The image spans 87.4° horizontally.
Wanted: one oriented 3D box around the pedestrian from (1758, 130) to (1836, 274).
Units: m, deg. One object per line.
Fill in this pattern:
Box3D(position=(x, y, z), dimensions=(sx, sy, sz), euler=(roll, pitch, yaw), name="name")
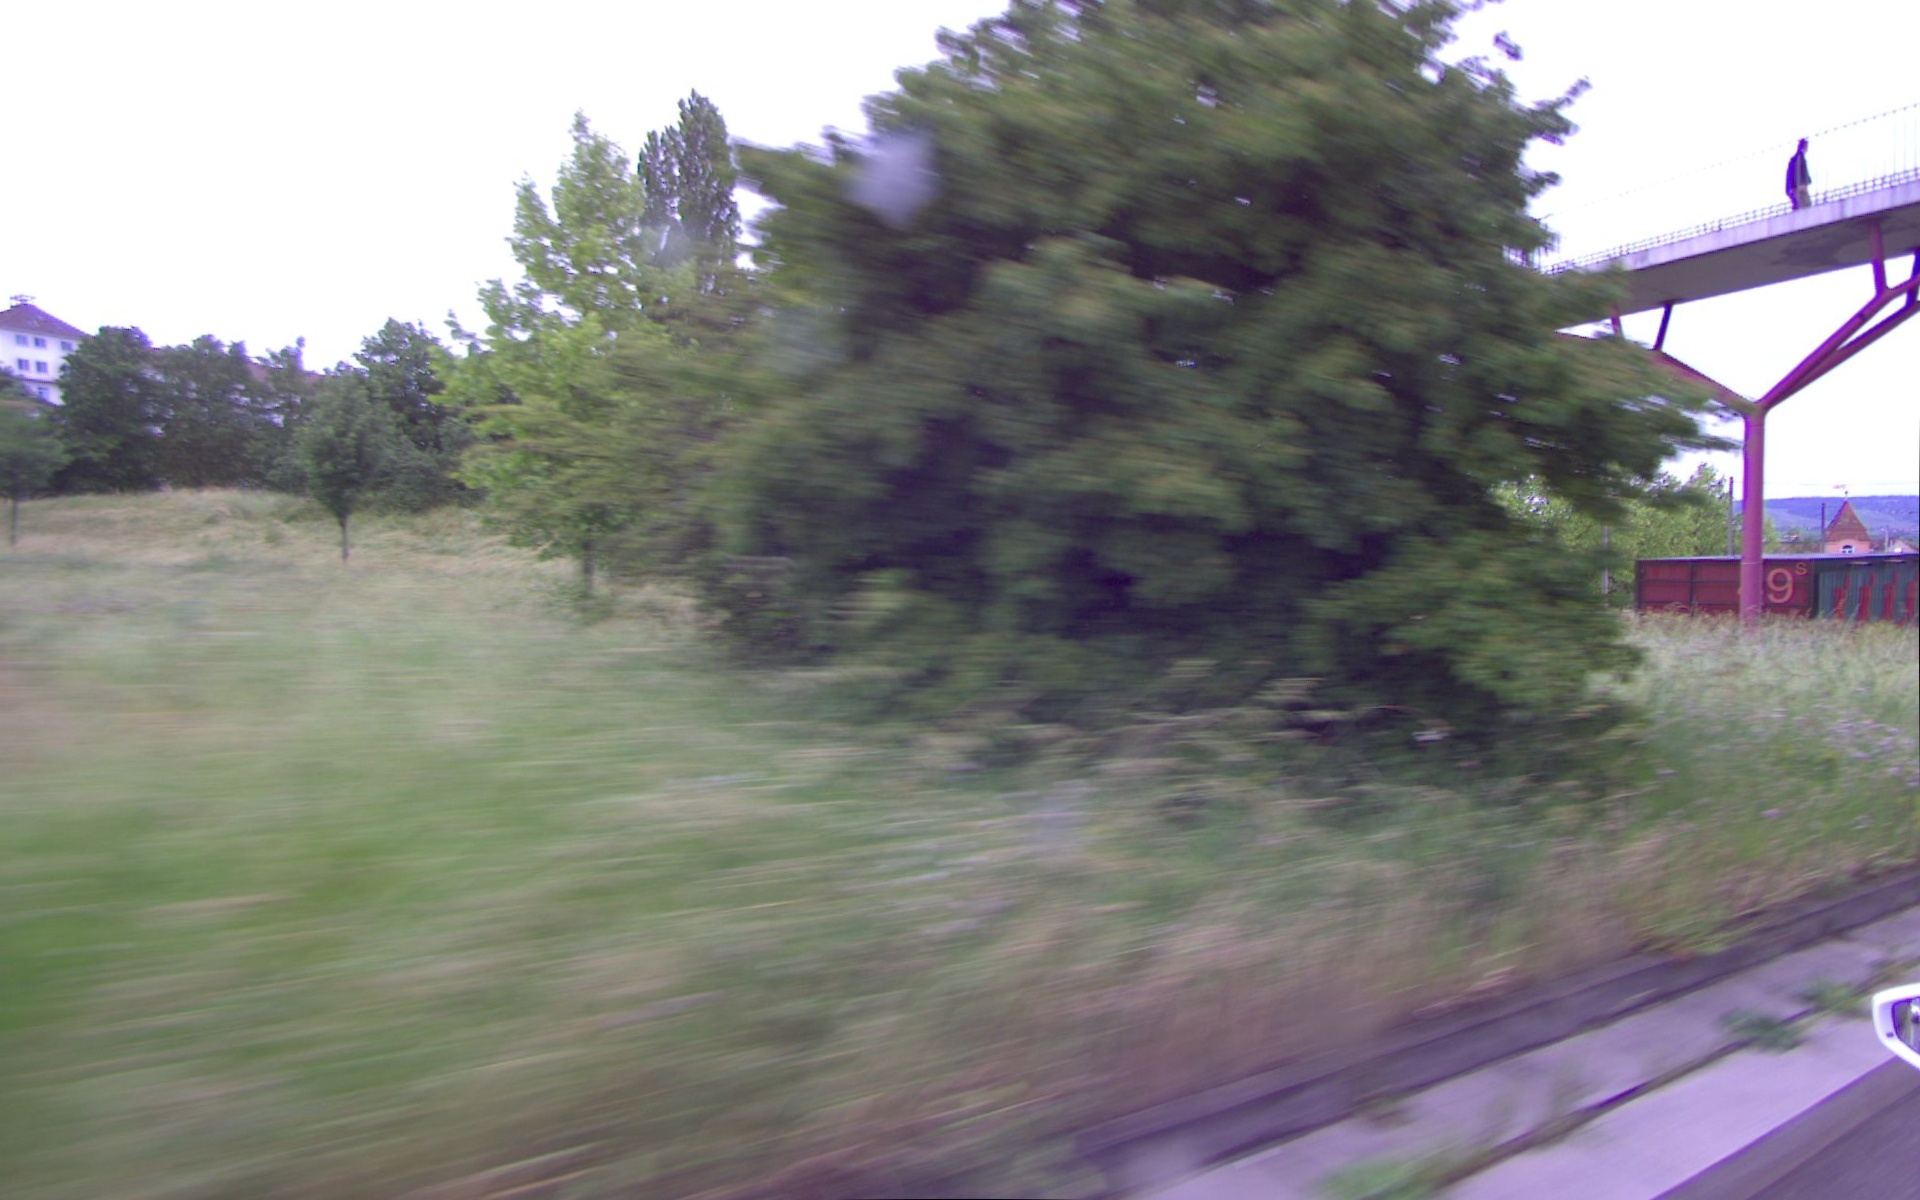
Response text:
Box3D(position=(15.397, -7.280, 18.483), dimensions=(0.724, 2.171, 0.909), euler=(1, -2, -34), name="pedestrian")
